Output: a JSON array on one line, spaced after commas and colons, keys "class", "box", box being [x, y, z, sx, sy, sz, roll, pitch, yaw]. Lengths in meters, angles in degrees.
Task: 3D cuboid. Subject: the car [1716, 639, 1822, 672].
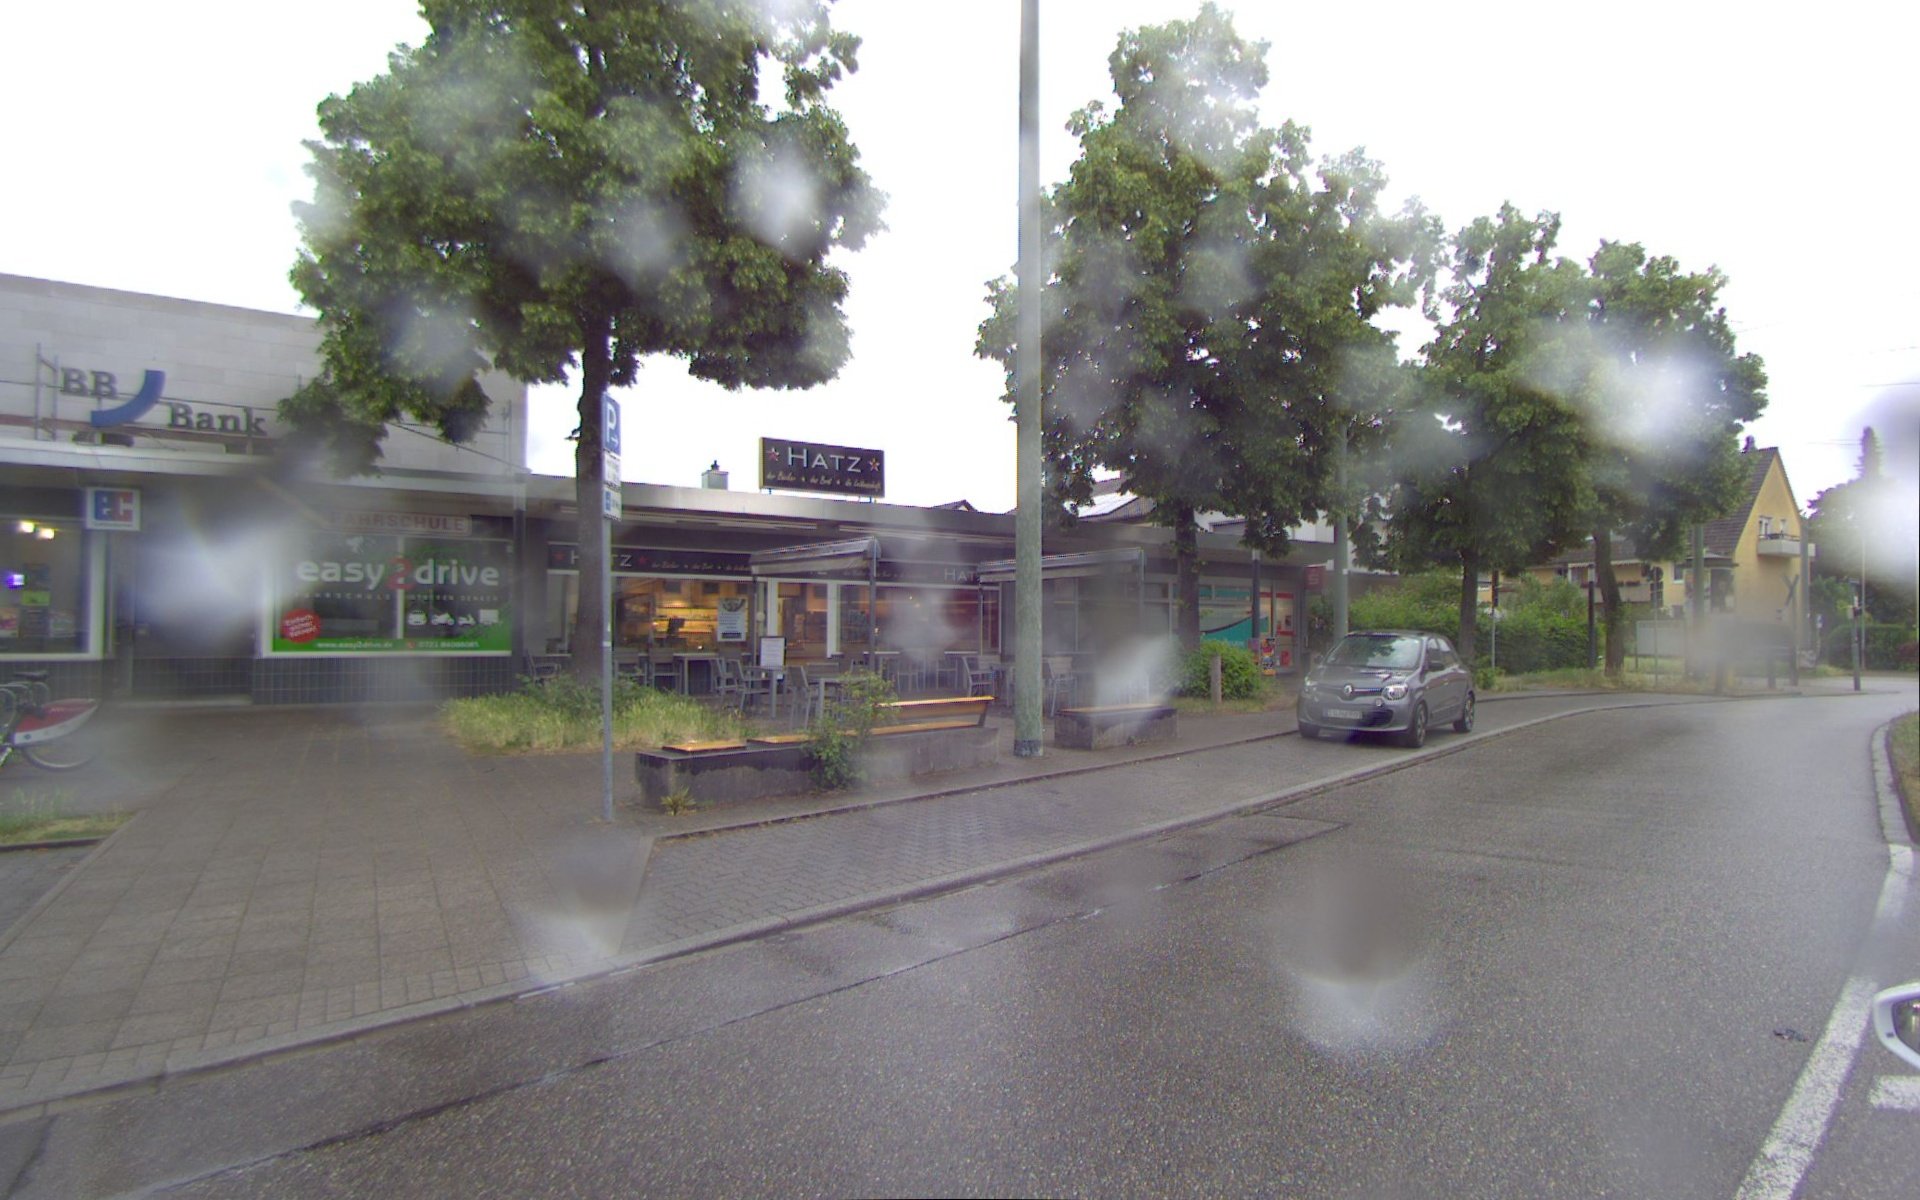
[{"class": "car", "box": [41.967, 2.861, 52.181, 1.815, 1.476, 3.960, 2, 0, -35]}]

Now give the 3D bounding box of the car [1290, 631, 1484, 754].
[{"class": "car", "box": [6.383, 1.252, 14.825, 1.598, 1.516, 3.649, 2, 0, 40]}]

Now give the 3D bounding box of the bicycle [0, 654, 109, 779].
[{"class": "bicycle", "box": [-9.001, 1.081, 9.247, 0.314, 1.122, 1.739, 2, 0, 43]}]
